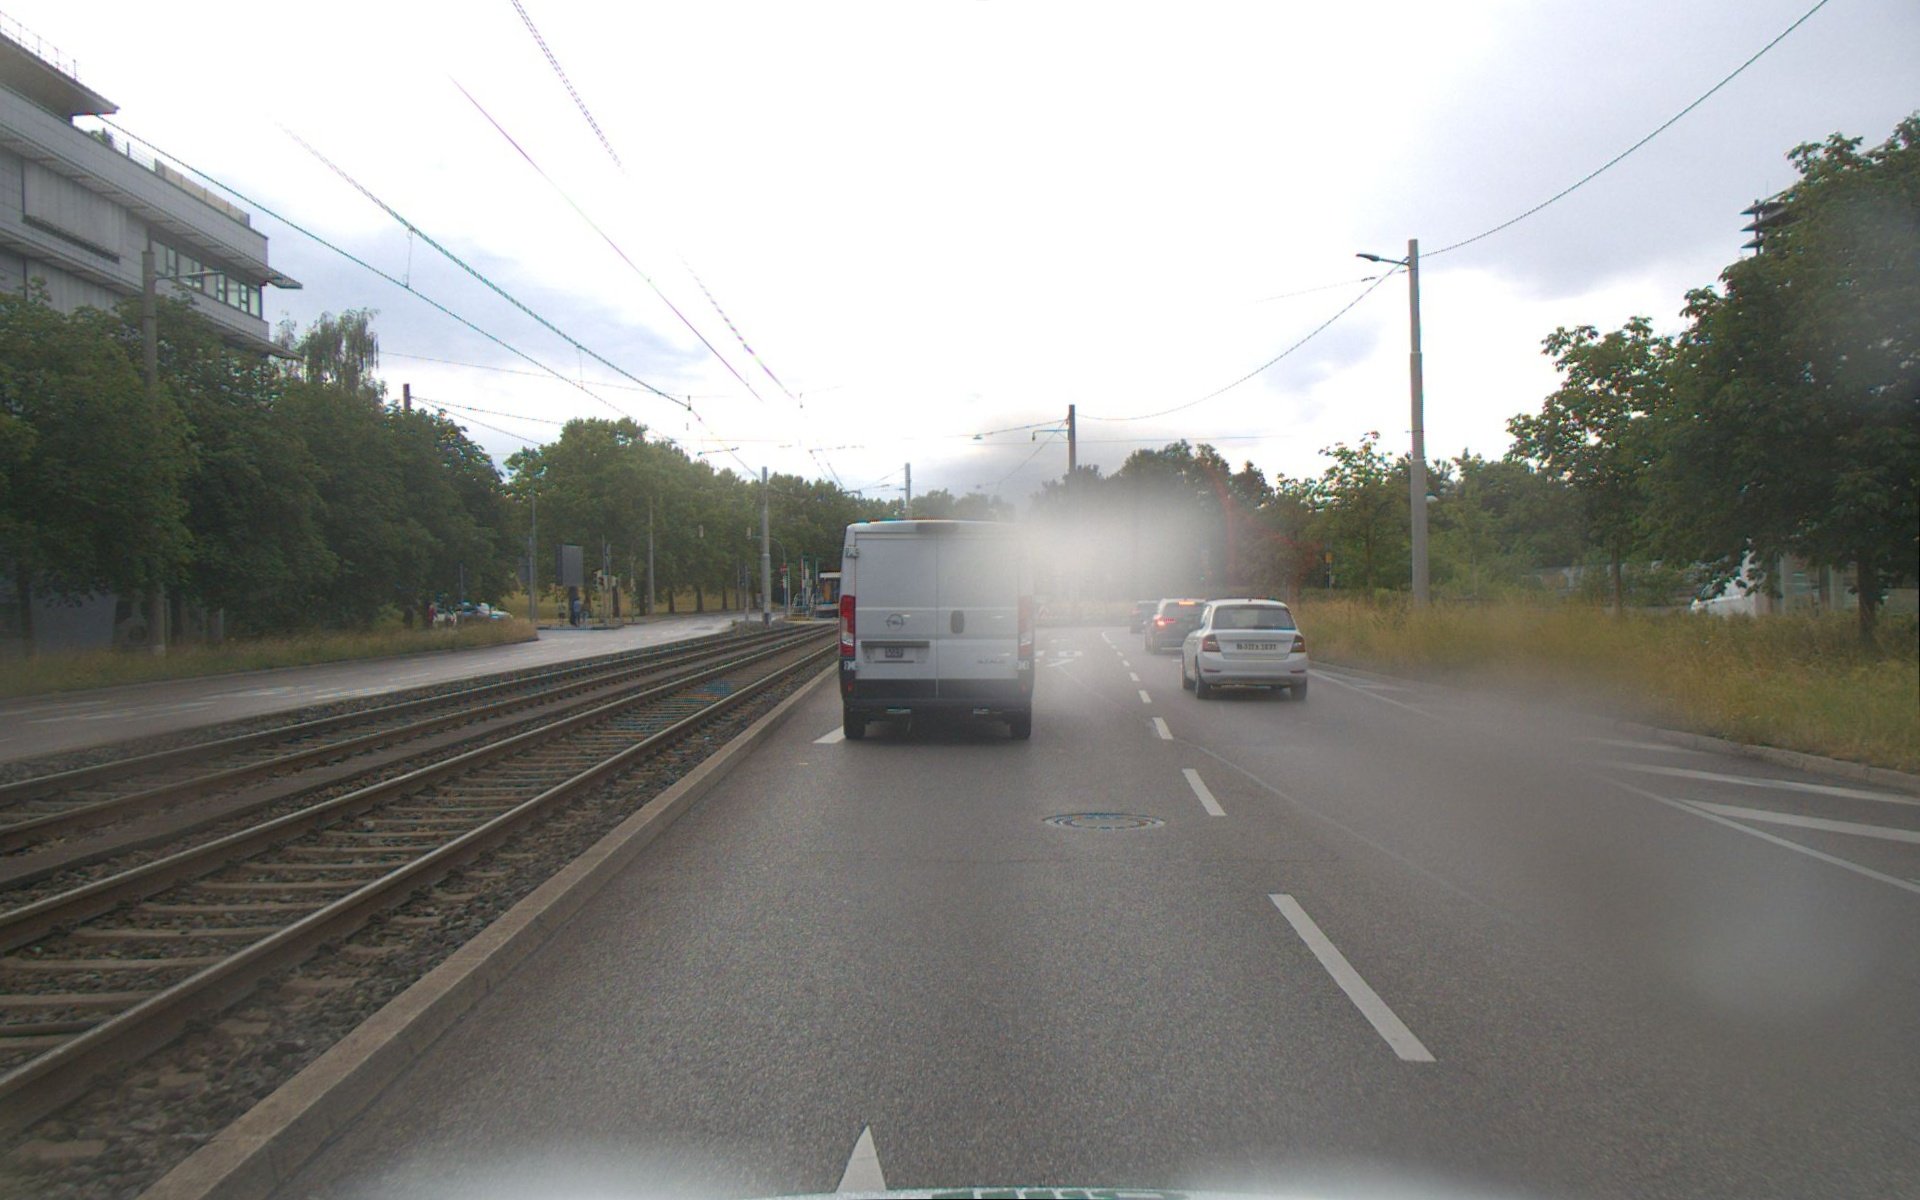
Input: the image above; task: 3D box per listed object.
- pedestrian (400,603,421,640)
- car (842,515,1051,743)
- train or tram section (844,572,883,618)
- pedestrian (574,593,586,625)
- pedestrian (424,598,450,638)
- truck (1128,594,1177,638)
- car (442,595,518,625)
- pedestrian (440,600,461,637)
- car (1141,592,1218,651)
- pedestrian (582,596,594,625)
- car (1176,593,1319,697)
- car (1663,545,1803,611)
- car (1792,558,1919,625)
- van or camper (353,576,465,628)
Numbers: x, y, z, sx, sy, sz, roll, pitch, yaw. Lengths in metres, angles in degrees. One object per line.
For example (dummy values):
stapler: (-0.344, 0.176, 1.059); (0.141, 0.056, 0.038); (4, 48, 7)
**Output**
pedestrian: (-26.936, 1.035, 81.109); (0.710, 1.786, 0.877); (1, 0, 2)
car: (-0.154, 0.264, 18.875); (2.048, 2.235, 5.060); (1, 1, -1)
train or tram section: (-8.625, -0.437, 148.686); (2.868, 4.001, 7.006); (1, 0, 1)
pedestrian: (-23.759, 0.558, 103.346); (0.485, 1.990, 0.722); (1, 0, 3)
pedestrian: (-27.108, 0.944, 85.750); (0.868, 2.049, 0.946); (-1, 0, 14)
truck: (8.670, 0.691, 74.913); (1.952, 1.822, 4.416); (-2, 0, 4)
car: (-29.434, 0.609, 101.382); (4.534, 1.762, 1.995); (0, 1, 33)
pedestrian: (-26.371, 0.965, 85.619); (0.620, 1.900, 0.954); (-1, 0, 15)
car: (5.756, 0.547, 43.696); (1.752, 1.474, 4.002); (0, 0, 4)
pedestrian: (-23.199, 0.658, 103.228); (0.495, 1.818, 0.832); (1, 0, 4)
car: (4.391, 0.640, 25.728); (1.710, 1.483, 3.672); (0, 0, 2)
car: (25.544, -0.708, 54.896); (2.003, 2.049, 5.087); (0, 0, -4)
car: (29.654, -0.265, 54.412); (1.907, 2.086, 4.702); (1, 0, -4)
van or camper: (-32.944, 0.123, 98.800); (7.222, 3.018, 2.484); (0, 1, 34)
